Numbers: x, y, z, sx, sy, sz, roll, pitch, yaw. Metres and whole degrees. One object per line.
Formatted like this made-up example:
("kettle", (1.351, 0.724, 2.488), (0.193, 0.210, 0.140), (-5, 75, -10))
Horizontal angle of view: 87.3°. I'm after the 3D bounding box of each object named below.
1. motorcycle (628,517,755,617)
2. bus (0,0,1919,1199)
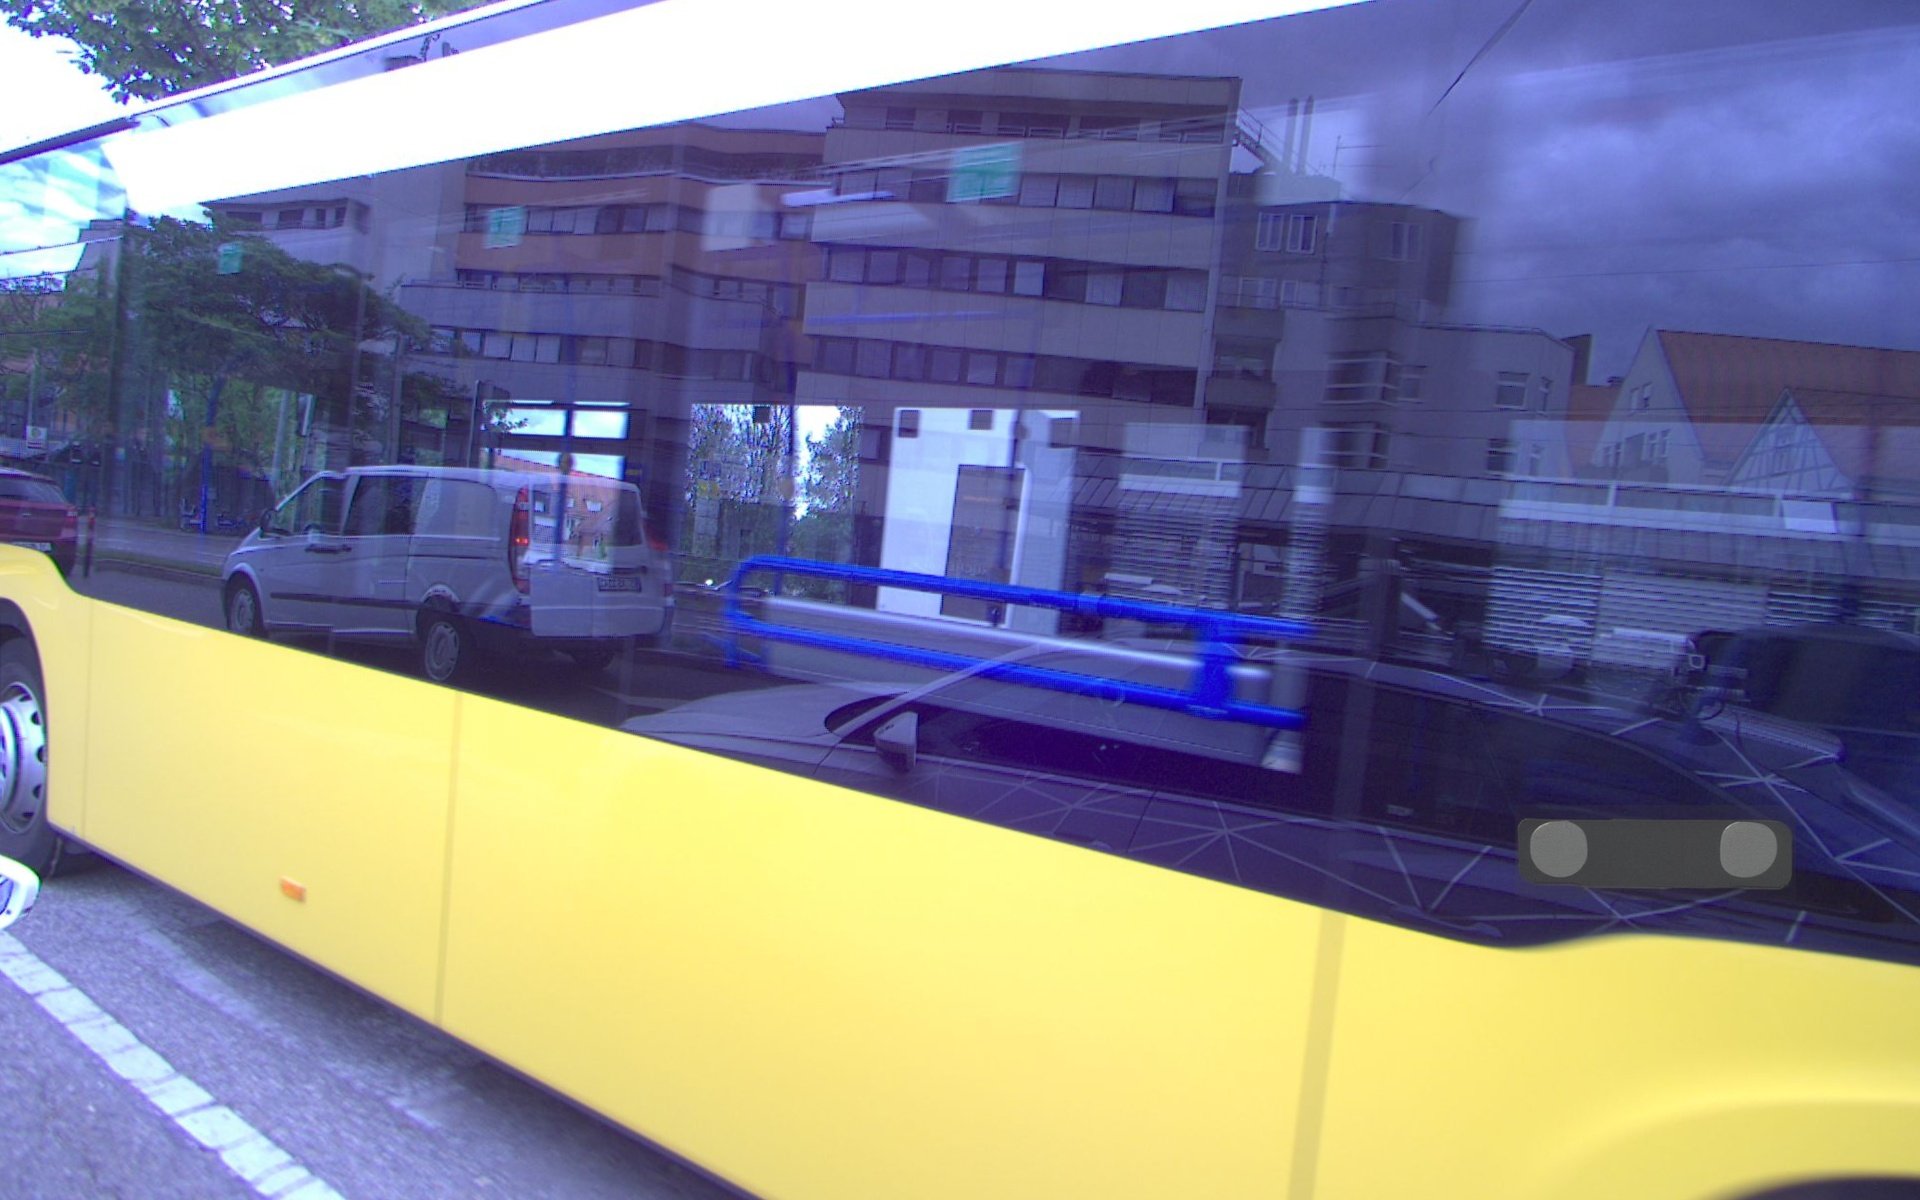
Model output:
("motorcycle", (-3.834, -0.462, 14.437), (1.552, 1.237, 0.584), (6, 0, -1))
("bus", (-1.574, -0.295, 4.064), (8.970, 3.204, 2.716), (7, 1, 29))
